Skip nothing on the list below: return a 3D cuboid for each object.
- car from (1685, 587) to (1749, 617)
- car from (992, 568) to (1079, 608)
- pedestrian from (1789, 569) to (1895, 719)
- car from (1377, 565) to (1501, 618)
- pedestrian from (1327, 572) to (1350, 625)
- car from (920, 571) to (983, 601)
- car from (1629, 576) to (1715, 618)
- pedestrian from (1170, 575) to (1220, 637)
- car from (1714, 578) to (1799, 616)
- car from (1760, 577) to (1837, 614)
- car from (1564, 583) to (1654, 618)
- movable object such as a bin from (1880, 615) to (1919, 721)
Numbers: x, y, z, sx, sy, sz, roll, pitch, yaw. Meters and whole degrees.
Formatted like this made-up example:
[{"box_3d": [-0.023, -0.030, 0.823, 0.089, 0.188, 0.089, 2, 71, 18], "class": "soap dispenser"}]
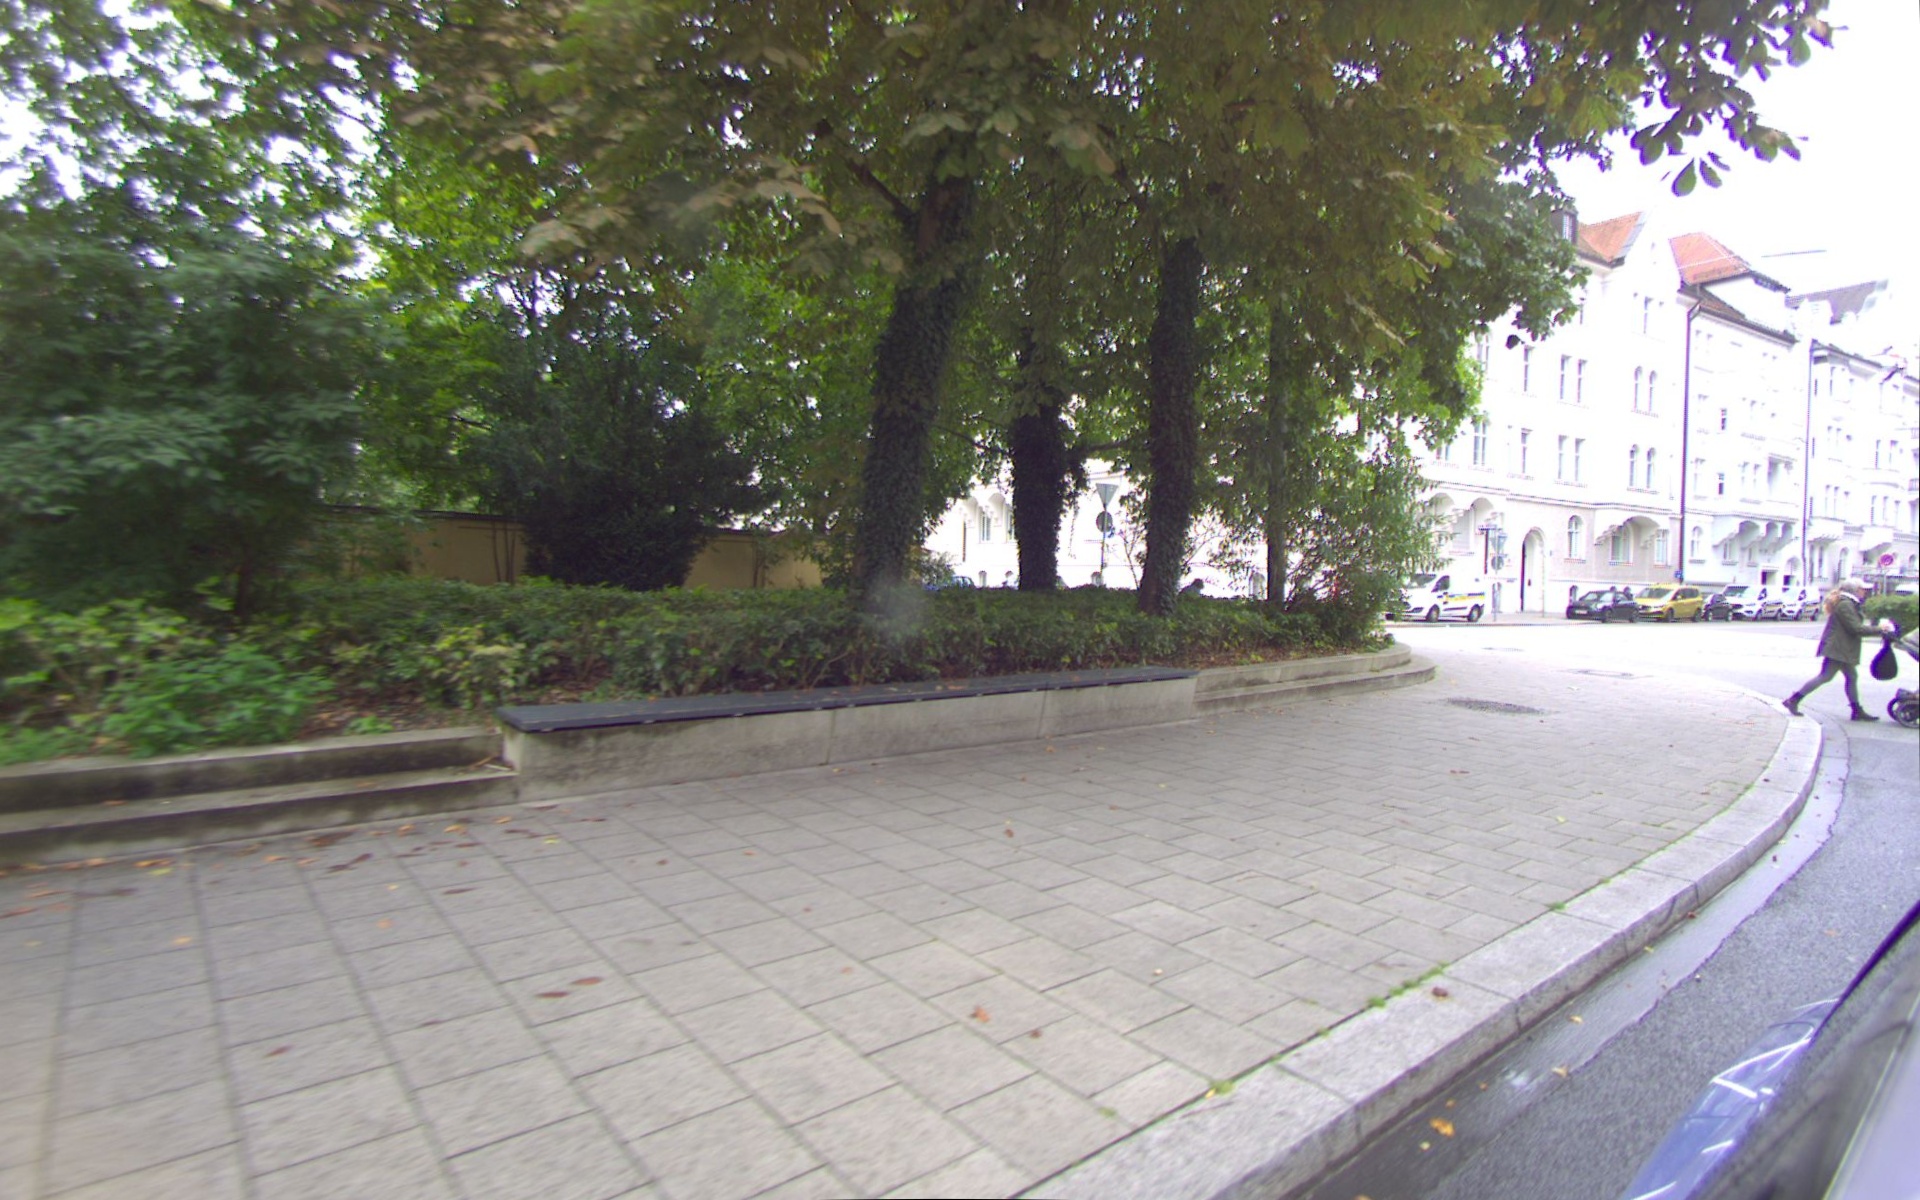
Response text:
[{"box_3d": [38.597, 0.079, 51.588, 3.292, 1.375, 1.444, -1, 3, -31], "class": "car"}, {"box_3d": [3.173, -0.551, 43.273, 1.703, 1.602, 4.005, -1, 2, -30], "class": "car"}, {"box_3d": [10.067, 0.465, 11.561, 0.860, 1.639, 0.585, 2, 2, 43], "class": "pedestrian"}, {"box_3d": [18.835, -0.342, 39.743, 4.875, 1.958, 1.954, 0, 2, -31], "class": "car"}, {"box_3d": [12.736, -0.057, 34.033, 0.558, 1.790, 0.406, 0, 2, -23], "class": "pedestrian"}, {"box_3d": [-0.438, -0.718, 49.985, 1.668, 1.348, 3.301, -1, 3, -32], "class": "car"}, {"box_3d": [34.293, -0.185, 48.708, 4.219, 1.841, 1.798, -1, 3, -31], "class": "car"}, {"box_3d": [4.682, 0.110, 20.155, 0.730, 1.192, 0.579, 1, 1, -30], "class": "pedestrian"}, {"box_3d": [43.148, -0.203, 54.809, 4.680, 1.936, 2.161, -1, 3, -32], "class": "car"}, {"box_3d": [48.175, -0.282, 58.125, 4.487, 1.962, 2.057, -1, 3, -32], "class": "car"}, {"box_3d": [29.519, 0.003, 46.013, 3.744, 1.437, 1.954, -1, 3, -31], "class": "car"}, {"box_3d": [10.702, 0.750, 11.081, 0.897, 1.097, 0.766, 2, 2, 42], "class": "movable object such as a bin"}]
